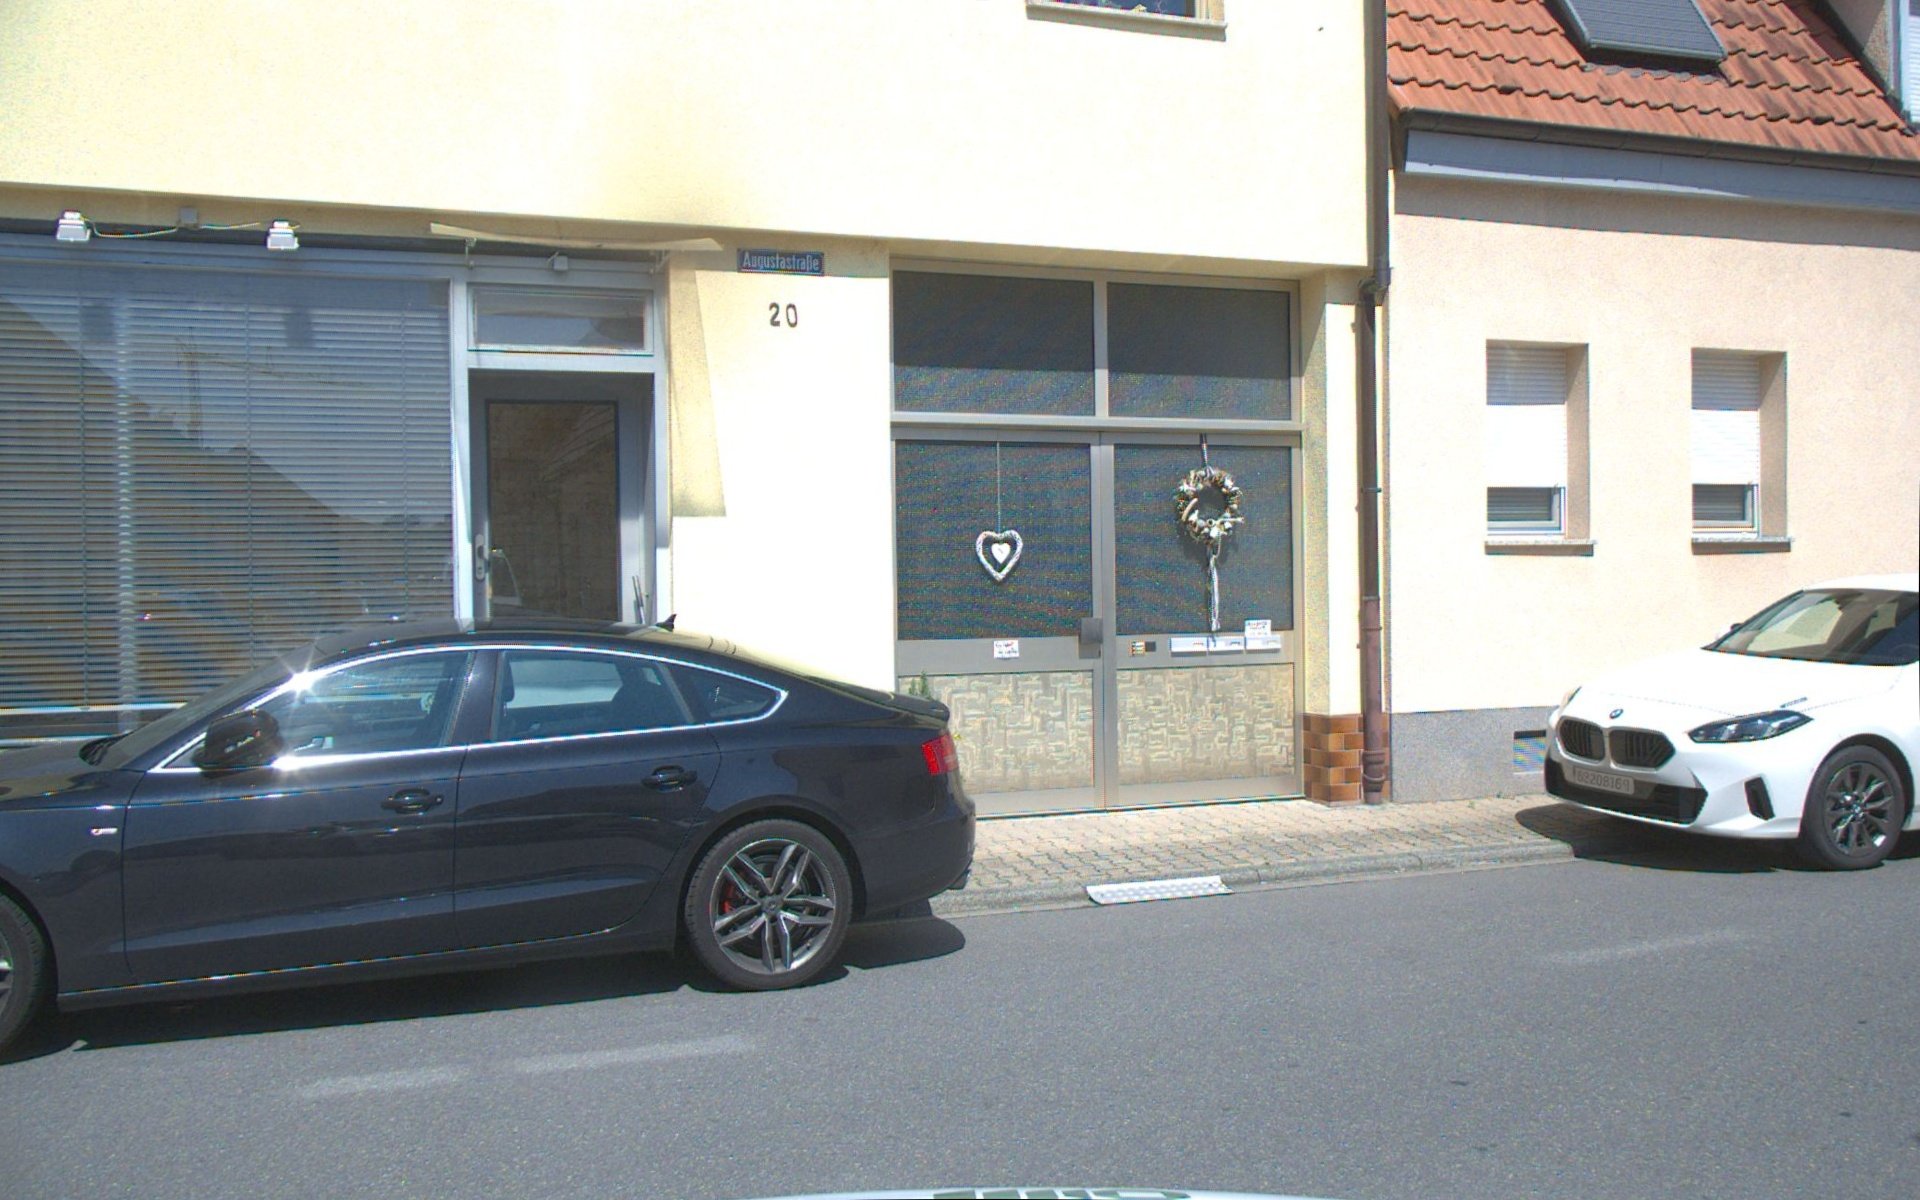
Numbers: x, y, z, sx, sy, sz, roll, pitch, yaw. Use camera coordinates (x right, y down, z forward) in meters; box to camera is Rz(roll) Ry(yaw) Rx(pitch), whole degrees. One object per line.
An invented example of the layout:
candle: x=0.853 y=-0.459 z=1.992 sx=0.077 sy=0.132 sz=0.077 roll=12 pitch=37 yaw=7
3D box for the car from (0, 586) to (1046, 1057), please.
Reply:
car: x=-2.134 y=0.734 z=6.514 sx=4.549 sy=1.419 sz=1.916 roll=-1 pitch=-3 yaw=-21

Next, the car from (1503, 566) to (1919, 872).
car: x=5.427 y=0.553 z=9.554 sx=4.137 sy=1.479 sz=1.779 roll=-1 pitch=0 yaw=-19
